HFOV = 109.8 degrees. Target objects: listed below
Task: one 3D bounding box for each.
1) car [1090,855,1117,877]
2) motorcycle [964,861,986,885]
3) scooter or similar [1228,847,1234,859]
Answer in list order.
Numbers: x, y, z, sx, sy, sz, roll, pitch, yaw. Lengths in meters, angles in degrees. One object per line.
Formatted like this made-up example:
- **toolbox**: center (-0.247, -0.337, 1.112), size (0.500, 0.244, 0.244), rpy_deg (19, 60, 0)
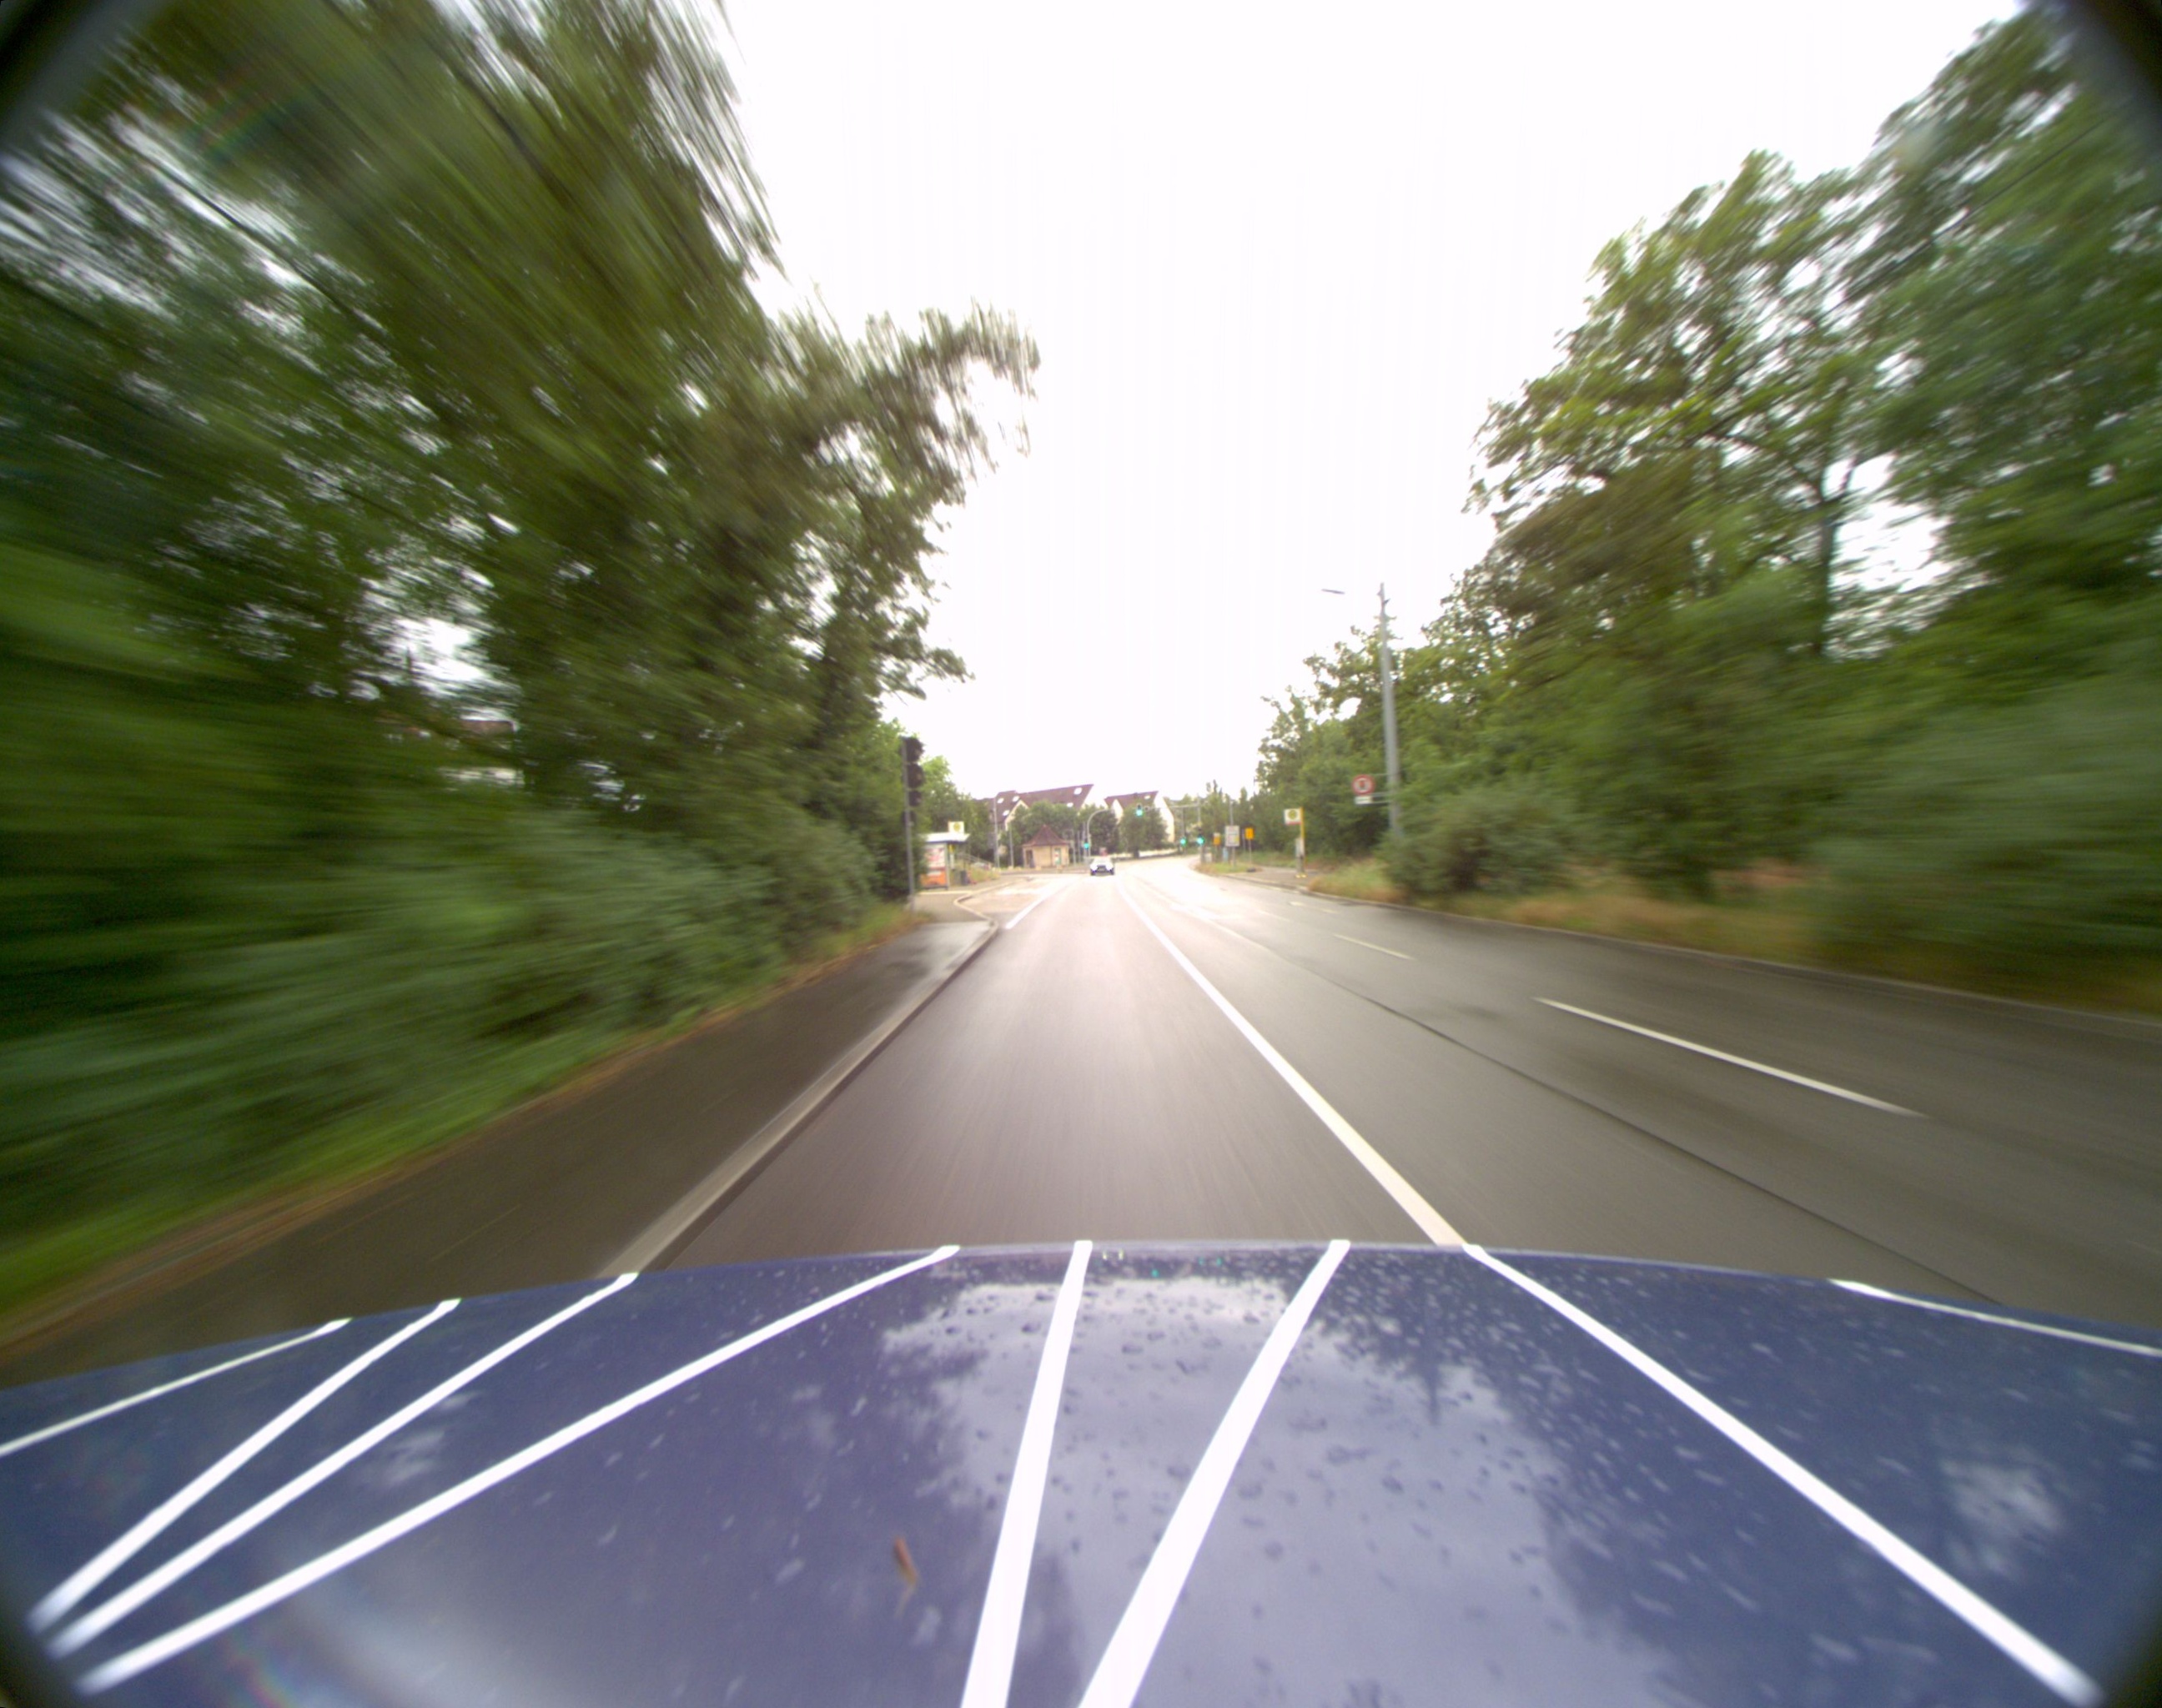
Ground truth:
- **car**: center (1.748, 0.911, 59.529), size (1.945, 1.446, 4.603), rpy_deg (-2, 1, 1)
- **motorcycle**: center (-6.004, 1.092, 43.174), size (0.589, 1.281, 1.539), rpy_deg (-2, 0, 18)
- **scooter or similar**: center (14.962, -0.094, 75.892), size (0.518, 1.205, 1.470), rpy_deg (-3, 1, 12)
